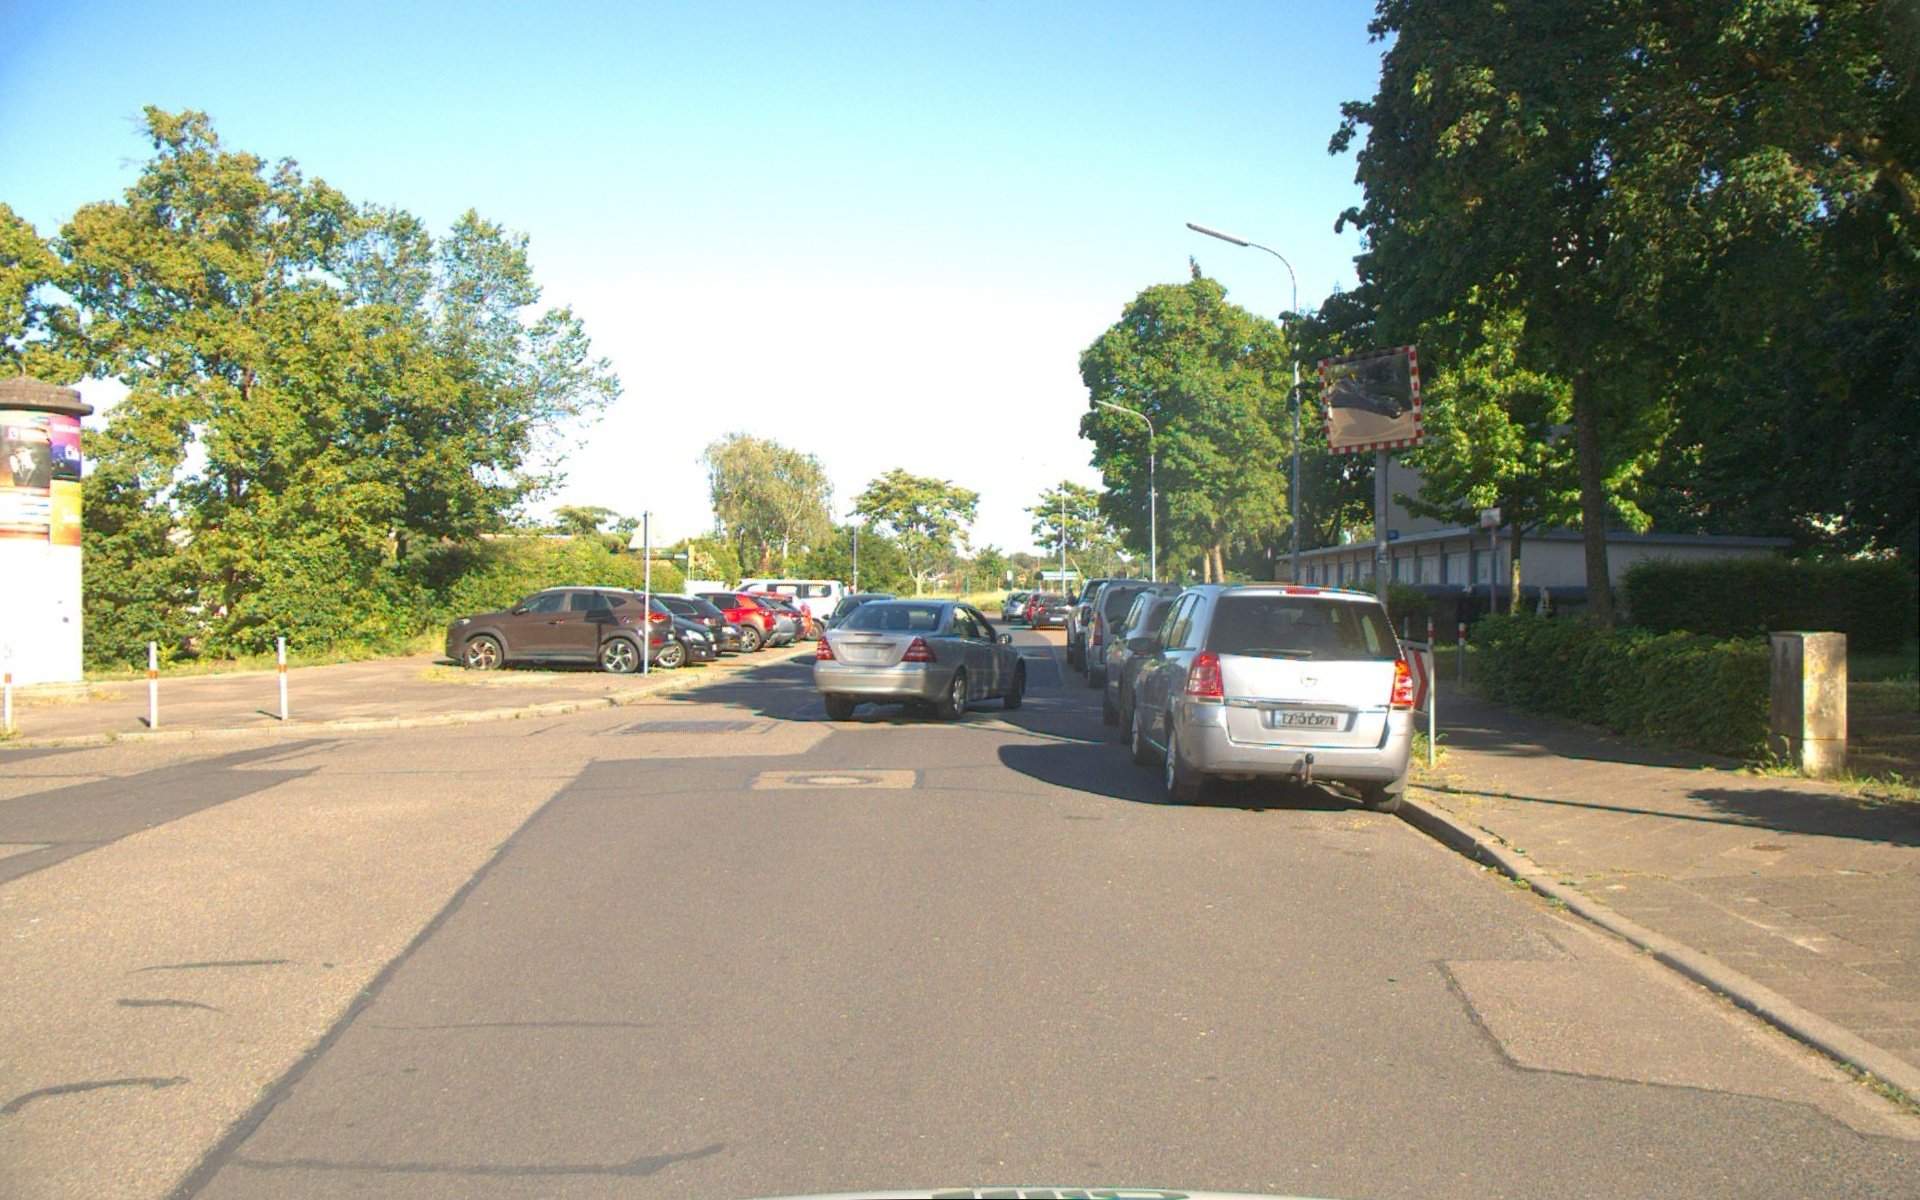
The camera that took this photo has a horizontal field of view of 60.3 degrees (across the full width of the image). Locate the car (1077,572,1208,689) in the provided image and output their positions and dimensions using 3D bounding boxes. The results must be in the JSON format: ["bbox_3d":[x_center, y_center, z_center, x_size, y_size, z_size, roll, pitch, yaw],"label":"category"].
[{"bbox_3d":[3.095,0.456,28.861,1.795,1.822,4.556,2,1,1],"label":"car"}]

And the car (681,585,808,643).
[{"bbox_3d":[-6.495,0.410,50.113,3.527,1.594,1.882,2,1,1],"label":"car"}]

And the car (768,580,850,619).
[{"bbox_3d":[-7.323,-0.024,80.155,3.900,1.811,1.923,1,0,-6],"label":"car"}]

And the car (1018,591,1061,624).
[{"bbox_3d":[3.640,0.327,76.157,1.544,1.472,3.785,1,0,-5],"label":"car"}]

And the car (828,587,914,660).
[{"bbox_3d":[-2.063,0.543,39.119,1.615,1.583,4.003,-1,-1,2],"label":"car"}]

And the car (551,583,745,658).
[{"bbox_3d":[-7.034,0.457,37.614,4.008,1.539,1.812,2,-1,0],"label":"car"}]

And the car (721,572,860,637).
[{"bbox_3d":[-5.661,0.155,55.717,4.387,2.011,2.000,2,-1,0],"label":"car"}]

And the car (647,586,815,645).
[{"bbox_3d":[-6.477,0.432,47.044,4.450,1.505,1.748,2,1,1],"label":"car"}]

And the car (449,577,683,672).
[{"bbox_3d":[-7.662,0.468,32.483,4.101,1.685,1.846,2,-1,-1],"label":"car"}]

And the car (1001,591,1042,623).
[{"bbox_3d":[3.152,0.369,85.640,1.697,1.570,3.785,1,0,-5],"label":"car"}]

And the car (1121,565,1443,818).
[{"bbox_3d":[2.372,0.630,13.268,1.732,1.638,4.372,2,0,0],"label":"car"}]

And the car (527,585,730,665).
[{"bbox_3d":[-7.041,0.523,35.412,3.905,1.559,1.832,2,-1,0],"label":"car"}]

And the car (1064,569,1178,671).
[{"bbox_3d":[3.226,0.337,34.075,1.867,1.872,5.275,2,1,1],"label":"car"}]

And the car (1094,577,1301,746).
[{"bbox_3d":[2.520,0.604,18.397,1.767,1.621,4.024,2,0,1],"label":"car"}]

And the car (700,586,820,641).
[{"bbox_3d":[-6.333,0.419,52.615,3.527,1.594,1.853,2,1,1],"label":"car"}]

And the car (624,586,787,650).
[{"bbox_3d":[-6.610,0.459,43.165,3.904,1.505,1.791,2,1,1],"label":"car"}]

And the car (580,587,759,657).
[{"bbox_3d":[-6.982,0.518,40.020,3.936,1.539,1.906,2,-1,0],"label":"car"}]

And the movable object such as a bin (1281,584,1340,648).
[{"bbox_3d":[7.628,0.348,35.979,1.223,1.371,1.053,0,-1,13],"label":"movable object such as a bin"}]

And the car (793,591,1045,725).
[{"bbox_3d":[-0.389,0.648,21.095,1.778,1.489,4.362,1,1,19],"label":"car"}]

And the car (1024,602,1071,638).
[{"bbox_3d":[3.573,0.824,68.277,1.614,1.427,3.880,-1,0,-2],"label":"car"}]
